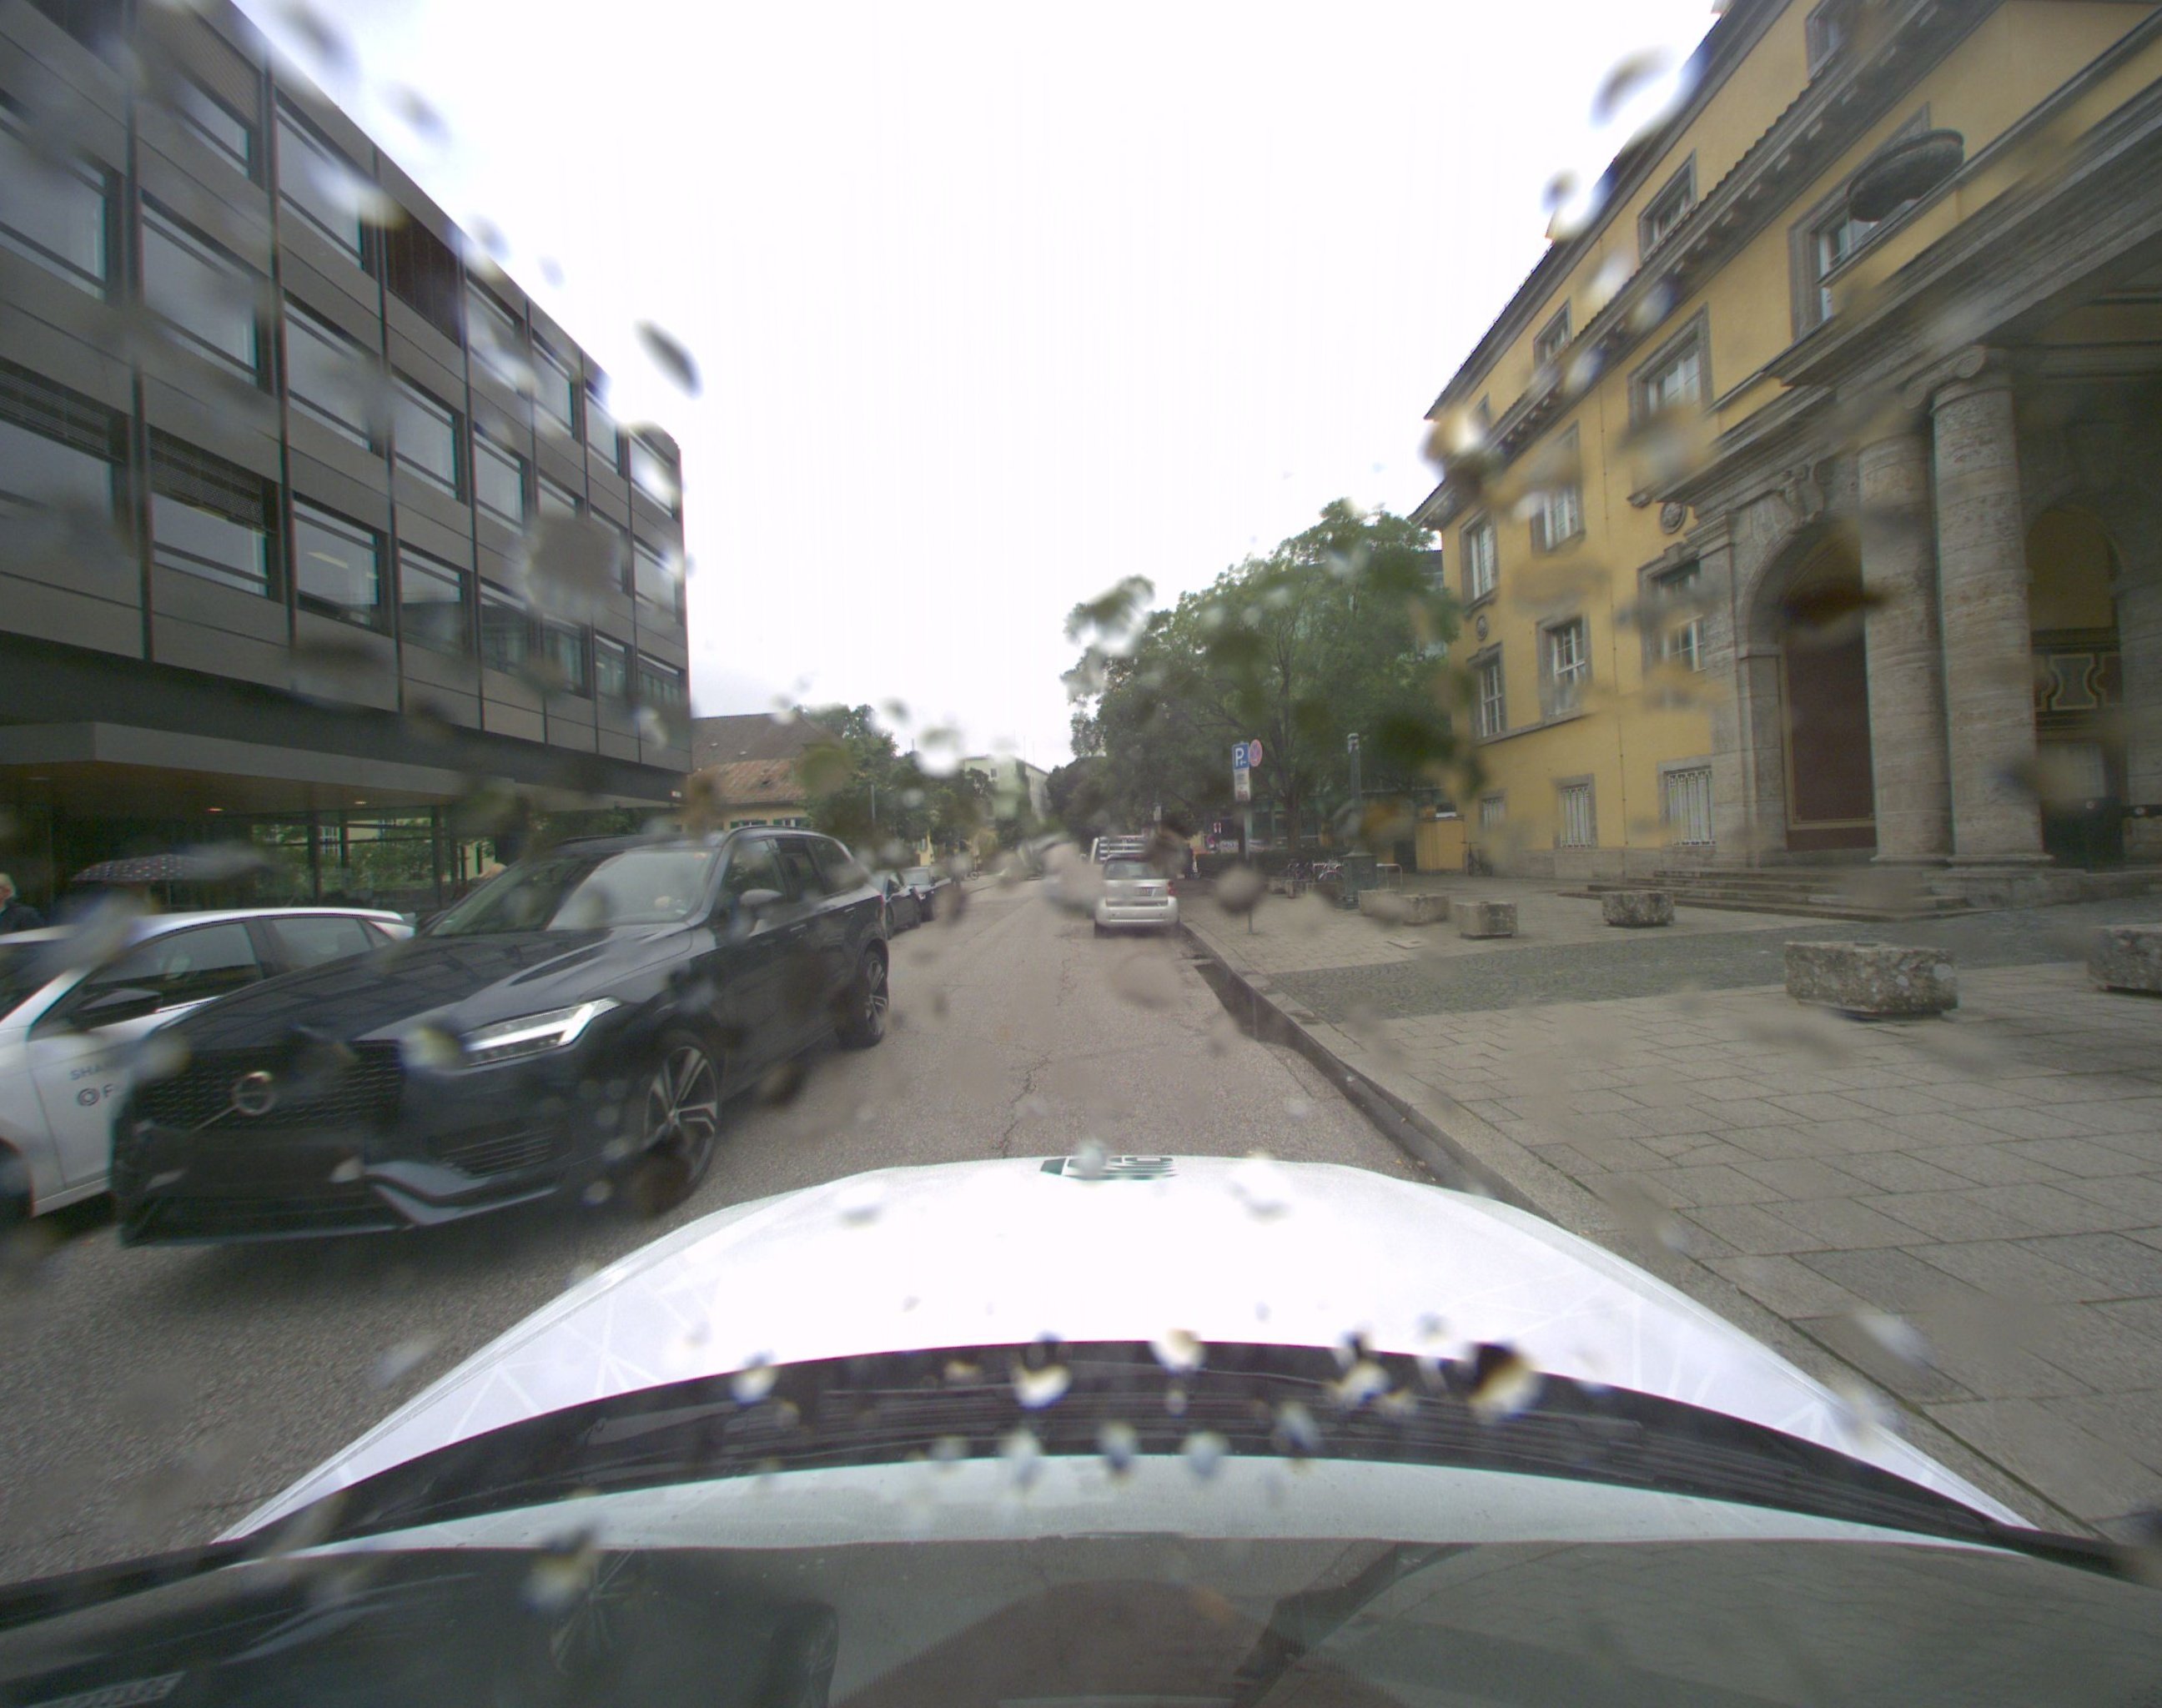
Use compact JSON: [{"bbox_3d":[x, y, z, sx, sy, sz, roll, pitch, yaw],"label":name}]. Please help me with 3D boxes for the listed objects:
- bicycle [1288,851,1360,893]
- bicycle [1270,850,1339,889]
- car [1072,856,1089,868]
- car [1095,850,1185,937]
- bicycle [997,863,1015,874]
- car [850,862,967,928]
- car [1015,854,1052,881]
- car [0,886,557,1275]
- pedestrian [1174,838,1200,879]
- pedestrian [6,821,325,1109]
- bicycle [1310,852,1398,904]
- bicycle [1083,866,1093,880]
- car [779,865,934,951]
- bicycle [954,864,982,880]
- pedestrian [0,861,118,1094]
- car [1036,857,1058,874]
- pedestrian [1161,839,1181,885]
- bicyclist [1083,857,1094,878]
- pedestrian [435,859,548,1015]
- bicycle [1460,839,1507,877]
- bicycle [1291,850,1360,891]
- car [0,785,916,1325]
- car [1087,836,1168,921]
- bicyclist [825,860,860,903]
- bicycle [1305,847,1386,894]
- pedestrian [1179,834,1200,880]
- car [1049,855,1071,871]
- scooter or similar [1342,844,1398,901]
[{"bbox_3d":[7.172,0.523,24.084,1.923,1.113,0.471,-4,0,3],"label":"bicycle"},{"bbox_3d":[7.227,0.482,26.364,2.026,1.113,0.471,-4,0,-2],"label":"bicycle"},{"bbox_3d":[-0.086,1.123,114.432,1.984,1.486,4.006,-3,0,6],"label":"car"},{"bbox_3d":[1.087,0.710,16.027,1.599,1.546,2.934,-1,0,1],"label":"car"},{"bbox_3d":[-7.256,1.401,78.772,1.621,0.926,0.646,-2,-2,-24],"label":"bicycle"},{"bbox_3d":[-4.709,1.049,23.003,1.986,1.490,4.886,-4,0,2],"label":"car"},{"bbox_3d":[-3.280,0.906,56.912,2.017,1.689,4.680,-3,0,2],"label":"car"},{"bbox_3d":[-5.167,1.044,4.406,1.675,1.440,4.281,-5,0,2],"label":"car"},{"bbox_3d":[5.184,0.201,39.687,0.735,1.907,1.063,-4,-1,36],"label":"pedestrian"},{"bbox_3d":[-7.191,0.800,6.501,1.131,2.055,1.221,-1,0,0],"label":"pedestrian"},{"bbox_3d":[6.638,0.573,19.826,1.927,1.113,0.471,-4,0,-2],"label":"bicycle"},{"bbox_3d":[0.471,1.280,54.677,0.624,0.955,1.861,0,-1,2],"label":"bicycle"},{"bbox_3d":[-4.659,1.042,17.740,1.917,1.439,4.916,-5,-1,0],"label":"car"},{"bbox_3d":[-8.270,1.318,59.597,1.922,1.099,0.615,-1,0,4],"label":"bicycle"},{"bbox_3d":[-8.508,0.941,6.440,0.686,1.752,0.892,0,-2,-4],"label":"pedestrian"},{"bbox_3d":[-3.289,1.125,78.940,1.726,1.581,3.792,0,0,4],"label":"car"},{"bbox_3d":[4.286,0.370,38.877,0.740,2.134,1.056,-3,-1,0],"label":"pedestrian"},{"bbox_3d":[0.477,0.884,54.658,0.702,1.393,0.869,0,-1,2],"label":"bicyclist"},{"bbox_3d":[-7.115,0.958,9.880,0.754,1.749,0.948,-2,-1,-15],"label":"pedestrian"},{"bbox_3d":[12.854,0.122,26.063,0.540,1.154,1.902,-3,0,0],"label":"bicycle"},{"bbox_3d":[7.456,0.504,24.872,1.924,1.113,0.471,-4,0,2],"label":"bicycle"},{"bbox_3d":[-2.658,0.687,5.226,1.953,1.681,4.913,-5,0,1],"label":"car"},{"bbox_3d":[1.073,0.555,21.130,1.839,1.933,5.272,0,0,0],"label":"car"},{"bbox_3d":[-8.719,1.008,29.796,1.097,1.497,0.668,-2,-2,-26],"label":"bicyclist"},{"bbox_3d":[7.057,0.446,21.767,1.923,1.113,0.471,-4,0,3],"label":"bicycle"},{"bbox_3d":[5.154,0.142,38.620,0.740,2.134,1.056,-3,-1,0],"label":"pedestrian"},{"bbox_3d":[-2.345,1.009,91.522,1.985,1.648,4.660,-3,0,4],"label":"car"},{"bbox_3d":[6.567,0.425,18.536,0.541,1.222,1.000,-3,0,-44],"label":"scooter or similar"}]
